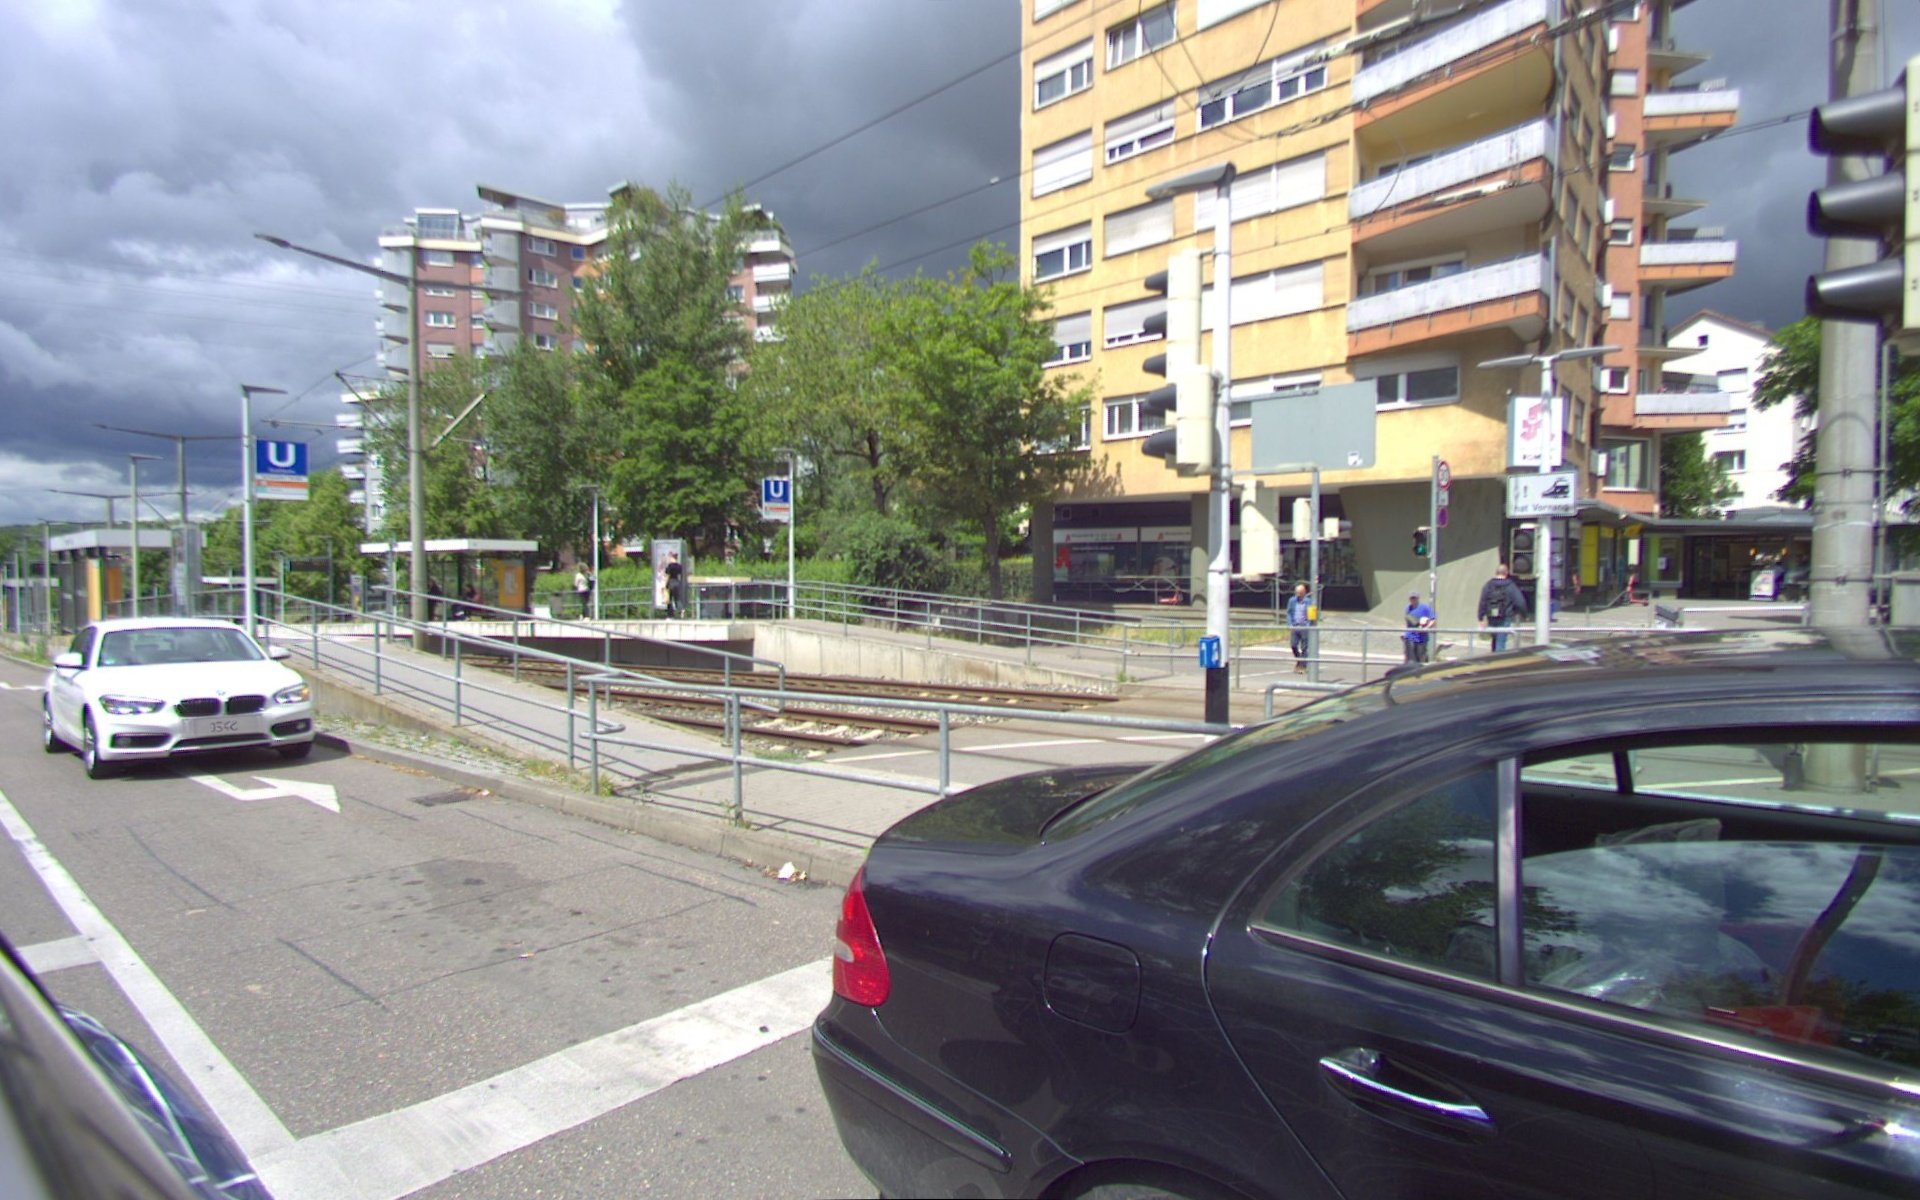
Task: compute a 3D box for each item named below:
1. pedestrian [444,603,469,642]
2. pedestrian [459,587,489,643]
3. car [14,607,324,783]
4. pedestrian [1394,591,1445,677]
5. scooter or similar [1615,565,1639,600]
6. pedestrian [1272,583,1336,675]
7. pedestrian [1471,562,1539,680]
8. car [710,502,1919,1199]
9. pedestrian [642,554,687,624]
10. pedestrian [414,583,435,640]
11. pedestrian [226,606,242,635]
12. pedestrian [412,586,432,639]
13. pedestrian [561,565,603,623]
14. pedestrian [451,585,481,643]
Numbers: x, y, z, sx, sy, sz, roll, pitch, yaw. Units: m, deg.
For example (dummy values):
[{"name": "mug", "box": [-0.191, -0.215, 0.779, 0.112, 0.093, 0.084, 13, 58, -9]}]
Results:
[{"name": "pedestrian", "box": [-18.358, 0.815, 36.899, 0.658, 1.425, 0.637, -1, 0, 41]}, {"name": "pedestrian", "box": [-17.028, 0.520, 35.461, 0.572, 1.946, 0.761, -1, 0, 39]}, {"name": "car", "box": [-8.322, 0.867, 10.510, 4.274, 1.462, 1.770, -2, -3, 41]}, {"name": "pedestrian", "box": [8.346, 0.605, 18.377, 0.649, 1.525, 0.711, -1, 0, 41]}, {"name": "scooter or similar", "box": [21.476, -0.556, 32.574, 0.544, 1.102, 1.731, -1, 0, 36]}, {"name": "pedestrian", "box": [6.407, 0.531, 18.843, 0.909, 1.609, 0.712, -1, 5, 37]}, {"name": "pedestrian", "box": [9.353, 0.354, 17.373, 0.853, 1.949, 0.909, -1, 0, 40]}, {"name": "car", "box": [1.886, 0.608, 1.337, 4.671, 1.409, 1.951, 0, 0, 40]}, {"name": "pedestrian", "box": [-7.718, -0.278, 26.450, 0.747, 1.787, 0.854, -1, 0, 40]}, {"name": "pedestrian", "box": [-20.510, 0.437, 38.760, 0.608, 2.157, 0.525, -1, 0, 44]}, {"name": "pedestrian", "box": [-44.389, 1.243, 61.884, 0.763, 1.718, 0.767, 0, 0, -40]}, {"name": "pedestrian", "box": [-20.860, 0.482, 39.230, 0.557, 2.029, 0.510, -1, 0, 41]}, {"name": "pedestrian", "box": [-10.771, -0.173, 28.826, 0.747, 1.618, 0.854, -1, 0, 40]}, {"name": "pedestrian", "box": [-17.635, 0.502, 36.129, 0.584, 2.029, 0.770, -1, 0, 41]}]
